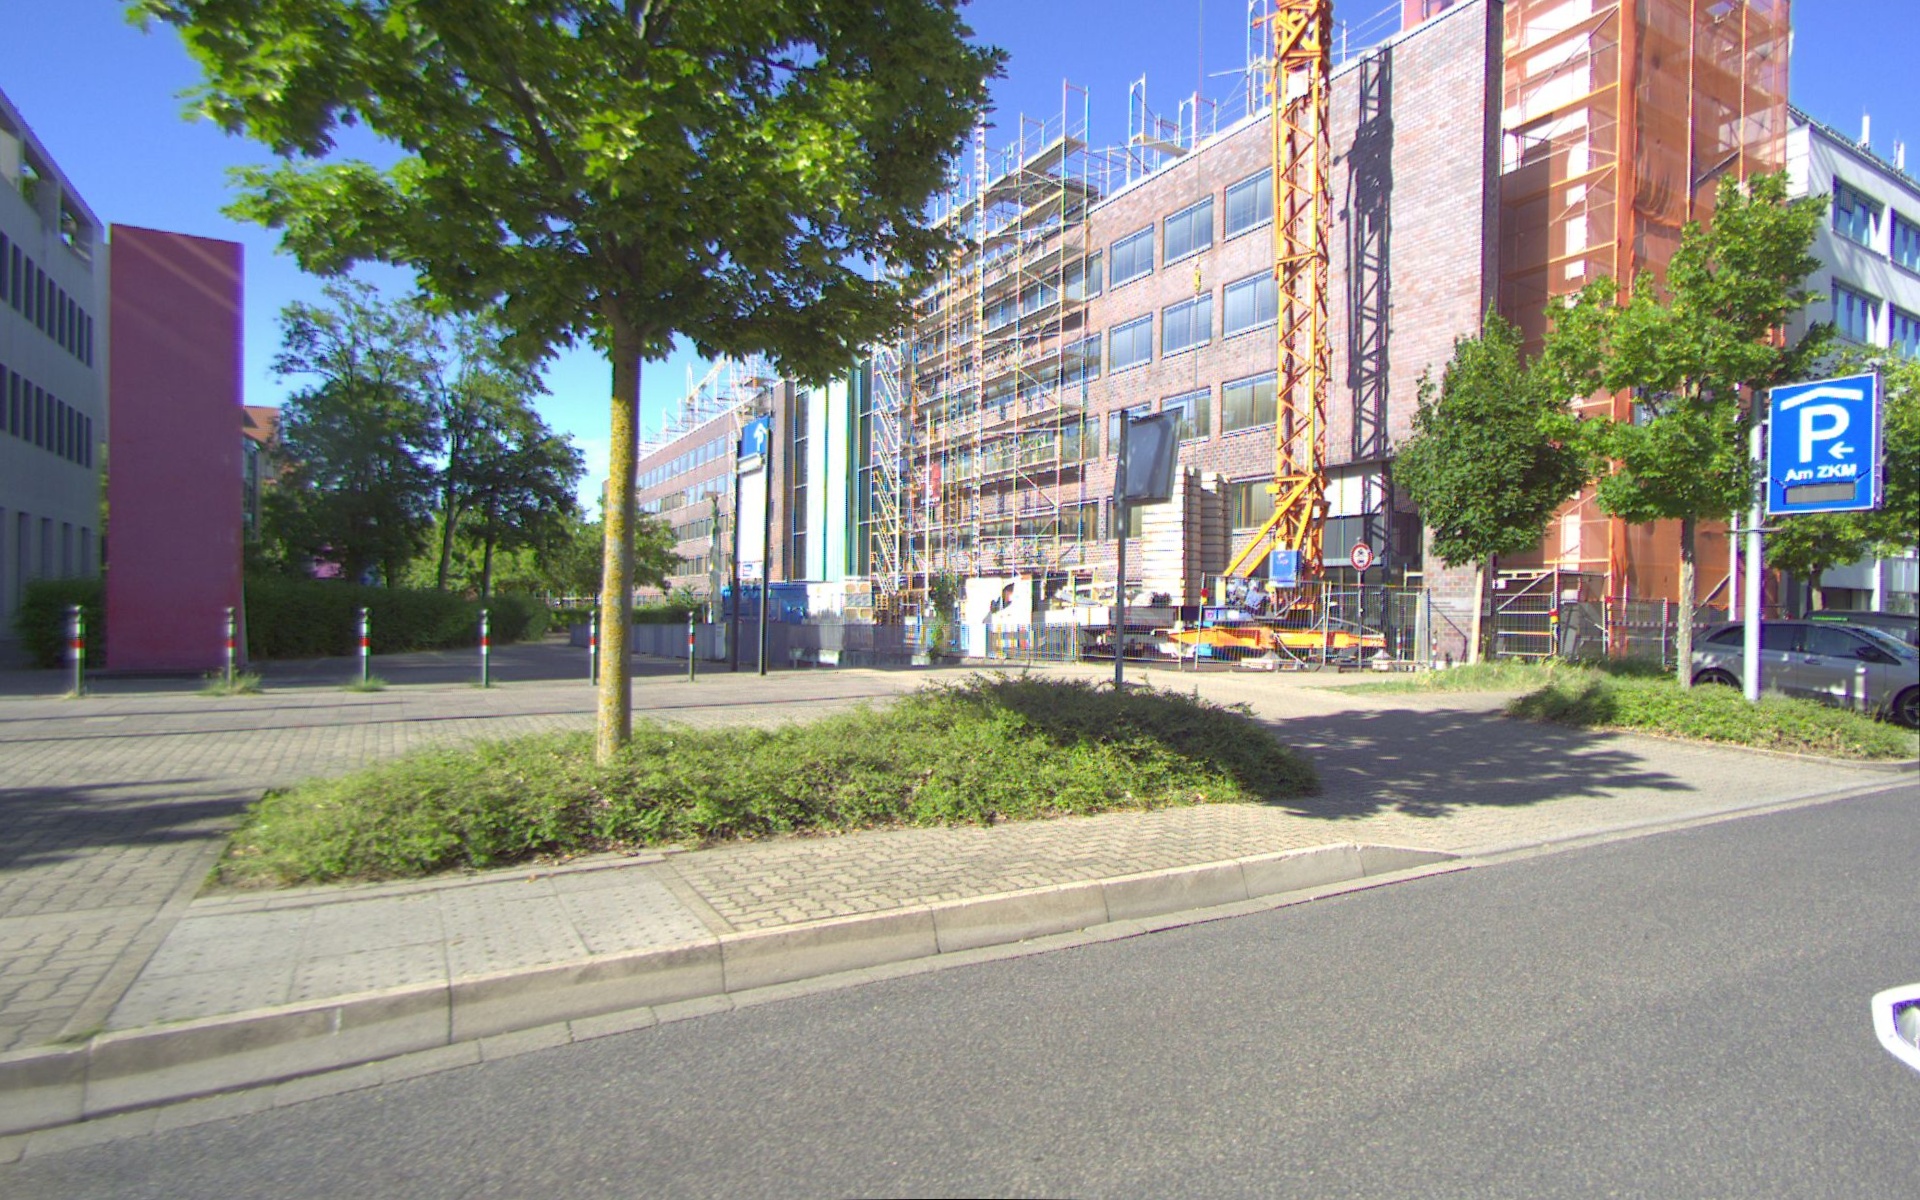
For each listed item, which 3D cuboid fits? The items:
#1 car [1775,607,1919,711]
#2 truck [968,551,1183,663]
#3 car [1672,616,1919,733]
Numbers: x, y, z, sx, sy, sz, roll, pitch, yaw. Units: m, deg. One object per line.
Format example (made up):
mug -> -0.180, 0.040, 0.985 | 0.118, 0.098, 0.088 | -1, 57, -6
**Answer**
car -> 18.103, 1.069, 18.621 | 1.795, 1.886, 4.314 | 0, 0, -28
truck -> 2.819, 0.179, 26.715 | 2.251, 2.581, 6.831 | 0, 0, -28
car -> 14.242, 1.122, 16.223 | 1.580, 1.688, 4.241 | 0, 0, -30
